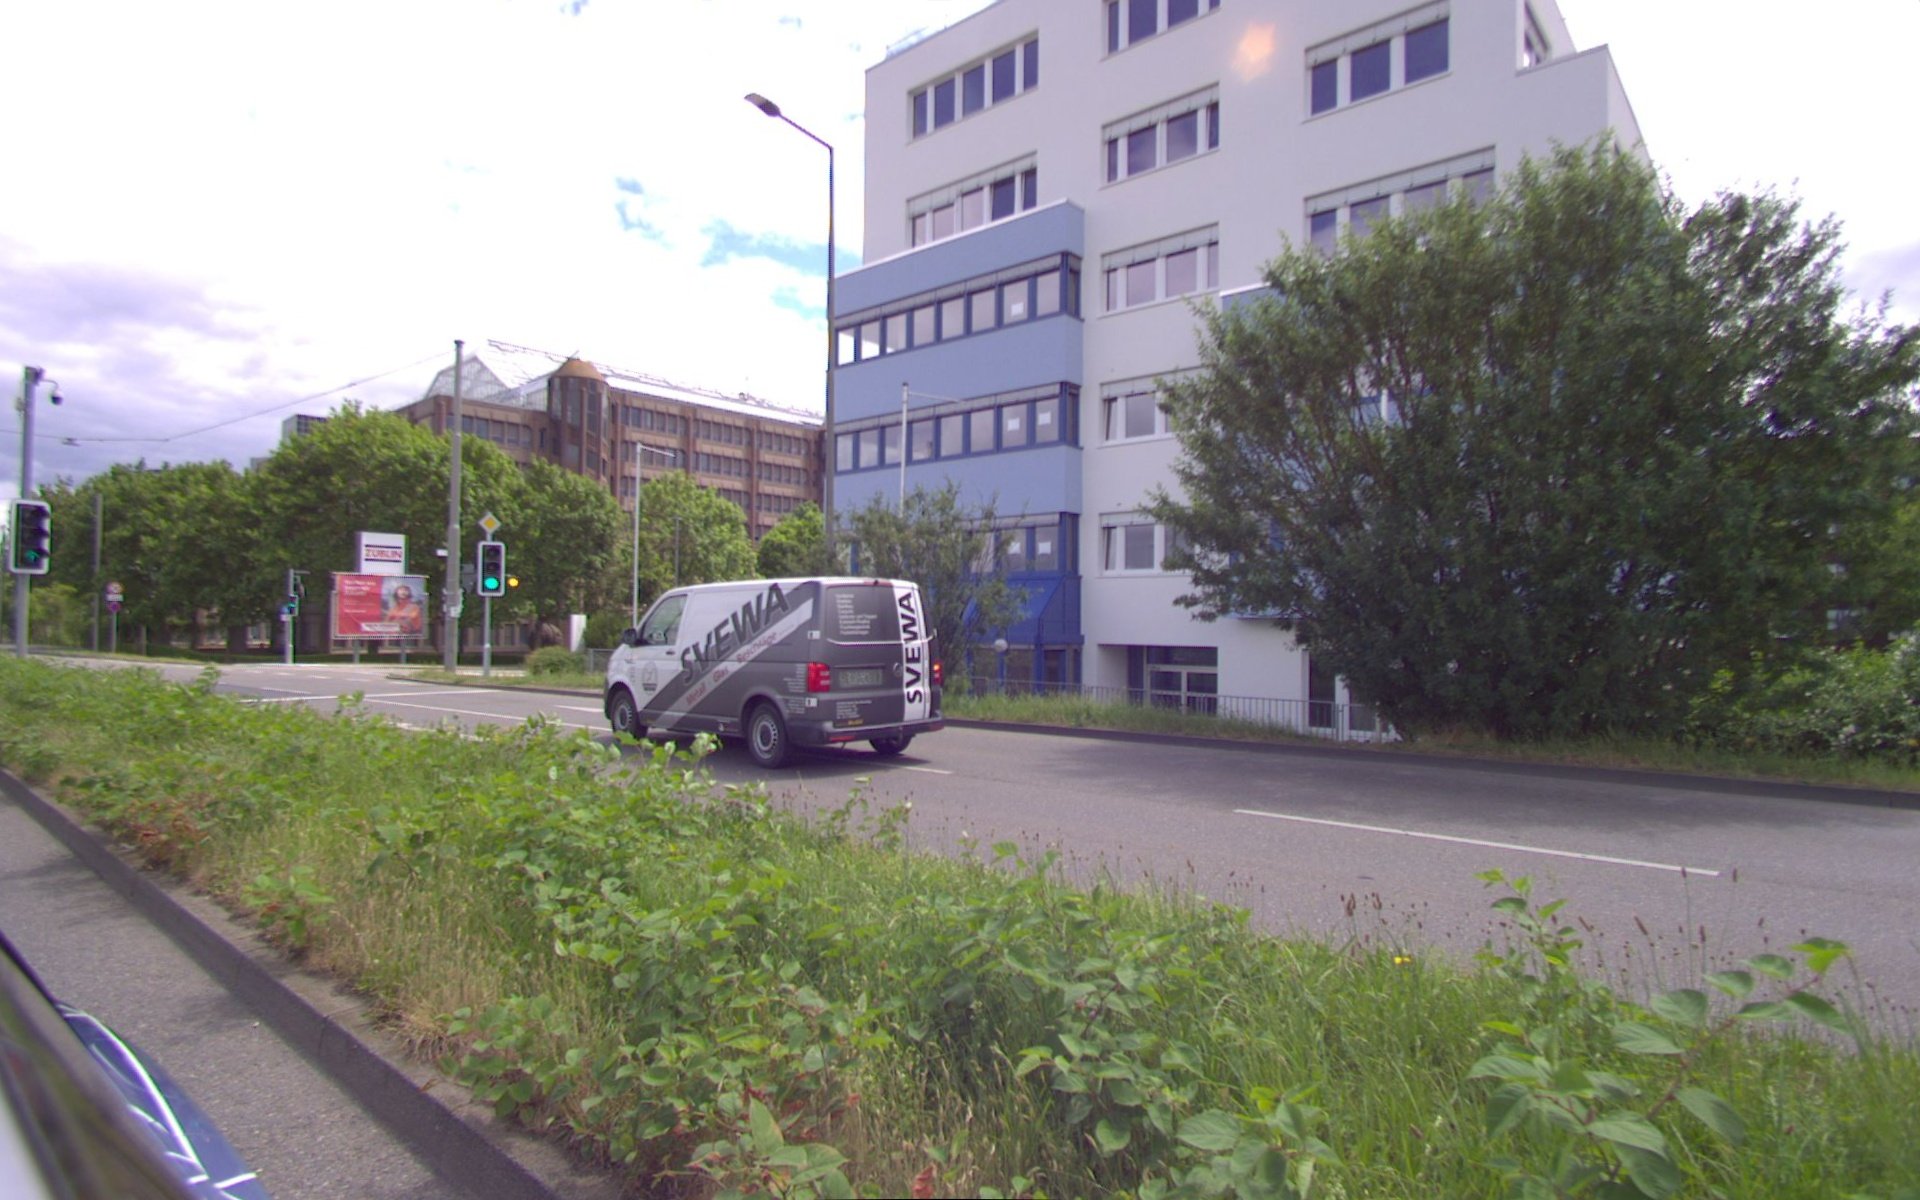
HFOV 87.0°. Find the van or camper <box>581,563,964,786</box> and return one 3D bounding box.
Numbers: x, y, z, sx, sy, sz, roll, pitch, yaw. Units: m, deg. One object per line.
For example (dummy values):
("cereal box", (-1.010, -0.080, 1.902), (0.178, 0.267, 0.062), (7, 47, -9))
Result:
("van or camper", (-2.340, 0.733, 11.631), (1.970, 2.029, 4.819), (1, -2, -45))
